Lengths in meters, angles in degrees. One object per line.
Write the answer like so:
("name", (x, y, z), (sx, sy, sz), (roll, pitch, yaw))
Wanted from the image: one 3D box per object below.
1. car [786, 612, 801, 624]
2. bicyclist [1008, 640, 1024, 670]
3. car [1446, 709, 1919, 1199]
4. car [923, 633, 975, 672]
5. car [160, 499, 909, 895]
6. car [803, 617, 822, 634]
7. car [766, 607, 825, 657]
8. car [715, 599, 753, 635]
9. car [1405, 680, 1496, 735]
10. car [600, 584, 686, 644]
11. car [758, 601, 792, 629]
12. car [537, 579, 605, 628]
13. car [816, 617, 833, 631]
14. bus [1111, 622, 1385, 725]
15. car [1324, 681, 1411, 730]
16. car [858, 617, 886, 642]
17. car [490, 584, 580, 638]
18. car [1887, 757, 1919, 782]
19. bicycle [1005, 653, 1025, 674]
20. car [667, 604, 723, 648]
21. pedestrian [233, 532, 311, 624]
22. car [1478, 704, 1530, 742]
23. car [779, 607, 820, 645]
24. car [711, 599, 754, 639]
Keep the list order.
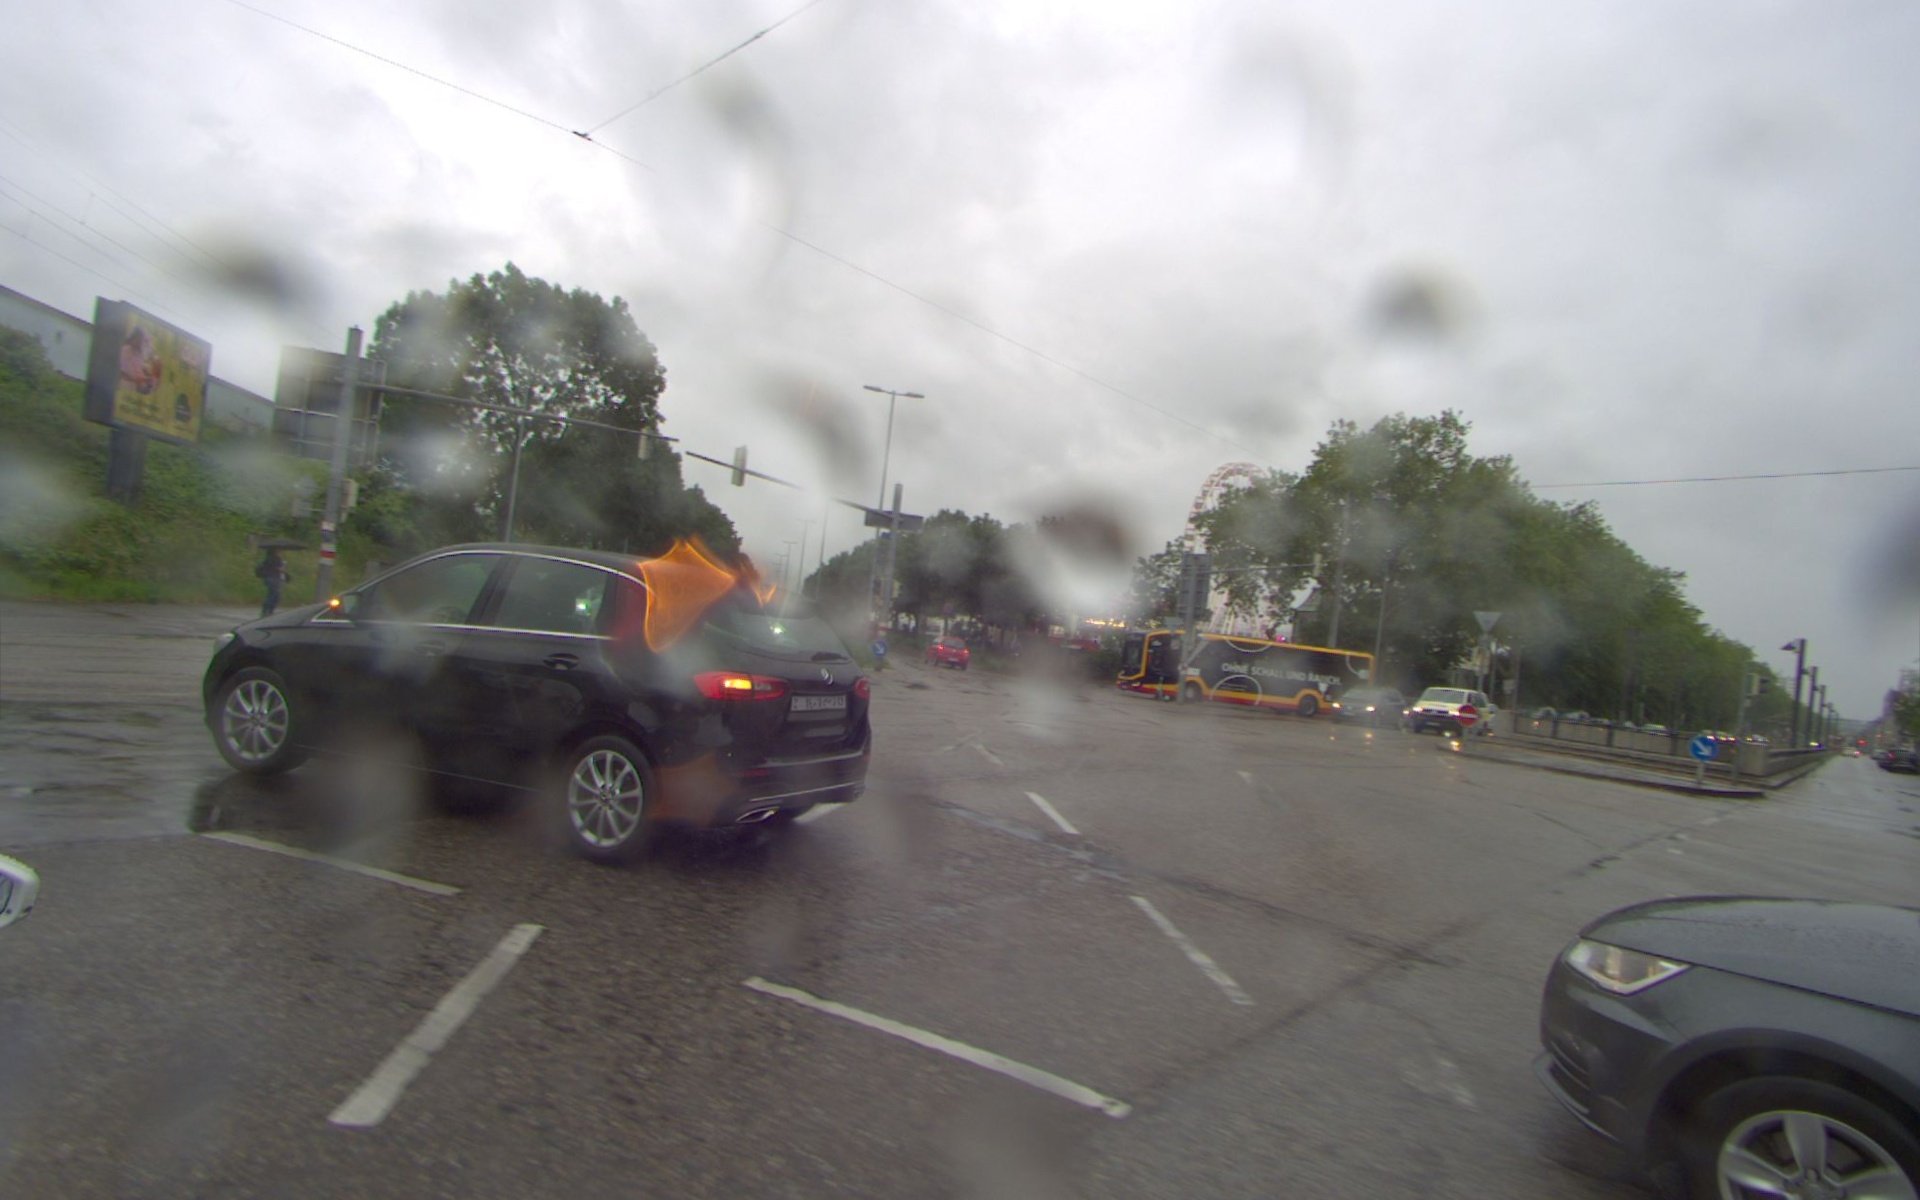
("car", (-26.683, 2.852, 161.129), (1.971, 1.637, 3.992), (7, -1, -13))
("bicyclist", (3.655, 3.592, 65.835), (0.756, 1.904, 0.621), (6, 0, -6))
("car", (3.511, 1.307, 2.392), (1.831, 1.414, 3.710), (10, -2, -41))
("car", (-0.593, 2.542, 48.970), (1.657, 1.508, 3.614), (8, -2, -12))
("car", (-2.598, 0.429, 6.203), (4.013, 1.541, 1.876), (7, -1, 23))
("car", (-17.203, 2.943, 117.069), (1.819, 1.636, 3.994), (9, -2, -11))
("car", (-7.006, 1.315, 42.743), (2.140, 1.741, 4.296), (7, -1, -10))
("car", (-12.857, 0.939, 57.296), (1.821, 1.741, 3.992), (7, -1, -12))
("car", (20.100, 4.423, 41.142), (2.049, 1.870, 4.726), (6, -2, 41))
("car", (-10.663, 0.475, 34.129), (1.994, 1.676, 4.056), (7, -1, -9))
("car", (-13.536, 1.063, 73.446), (1.915, 1.741, 3.989), (7, -1, -15))
("car", (-14.580, 0.114, 37.902), (1.805, 1.500, 3.989), (7, -1, -15))
("car", (-18.611, 3.236, 138.478), (1.969, 1.637, 3.994), (7, -1, -10))
("bus", (13.476, 3.448, 47.159), (12.095, 3.307, 3.267), (7, -1, -14))
("car", (16.924, 4.386, 41.670), (1.907, 1.670, 4.324), (6, -2, 41))
("car", (-7.027, 2.346, 80.141), (1.612, 1.674, 3.478), (9, -2, -12))
("car", (-13.306, 0.319, 31.717), (1.869, 1.365, 3.989), (7, -1, -14))
("car", (72.837, 13.059, 77.571), (1.818, 1.570, 3.980), (6, -2, 44))
("bicycle", (3.593, 4.171, 65.853), (0.807, 1.178, 2.258), (7, -1, -7))
("car", (-10.641, 1.000, 40.268), (1.806, 1.374, 3.985), (7, -1, -18))
("pedestrian", (-14.216, -0.438, 20.813), (0.991, 1.740, 0.816), (7, -1, -20))
("car", (32.561, 7.327, 60.148), (2.046, 1.870, 4.734), (6, -2, 35))
("car", (-8.650, 1.366, 54.030), (1.580, 1.741, 3.989), (7, -1, -15))
("car", (-11.572, 0.938, 51.115), (1.841, 1.741, 3.991), (7, -1, -13))
